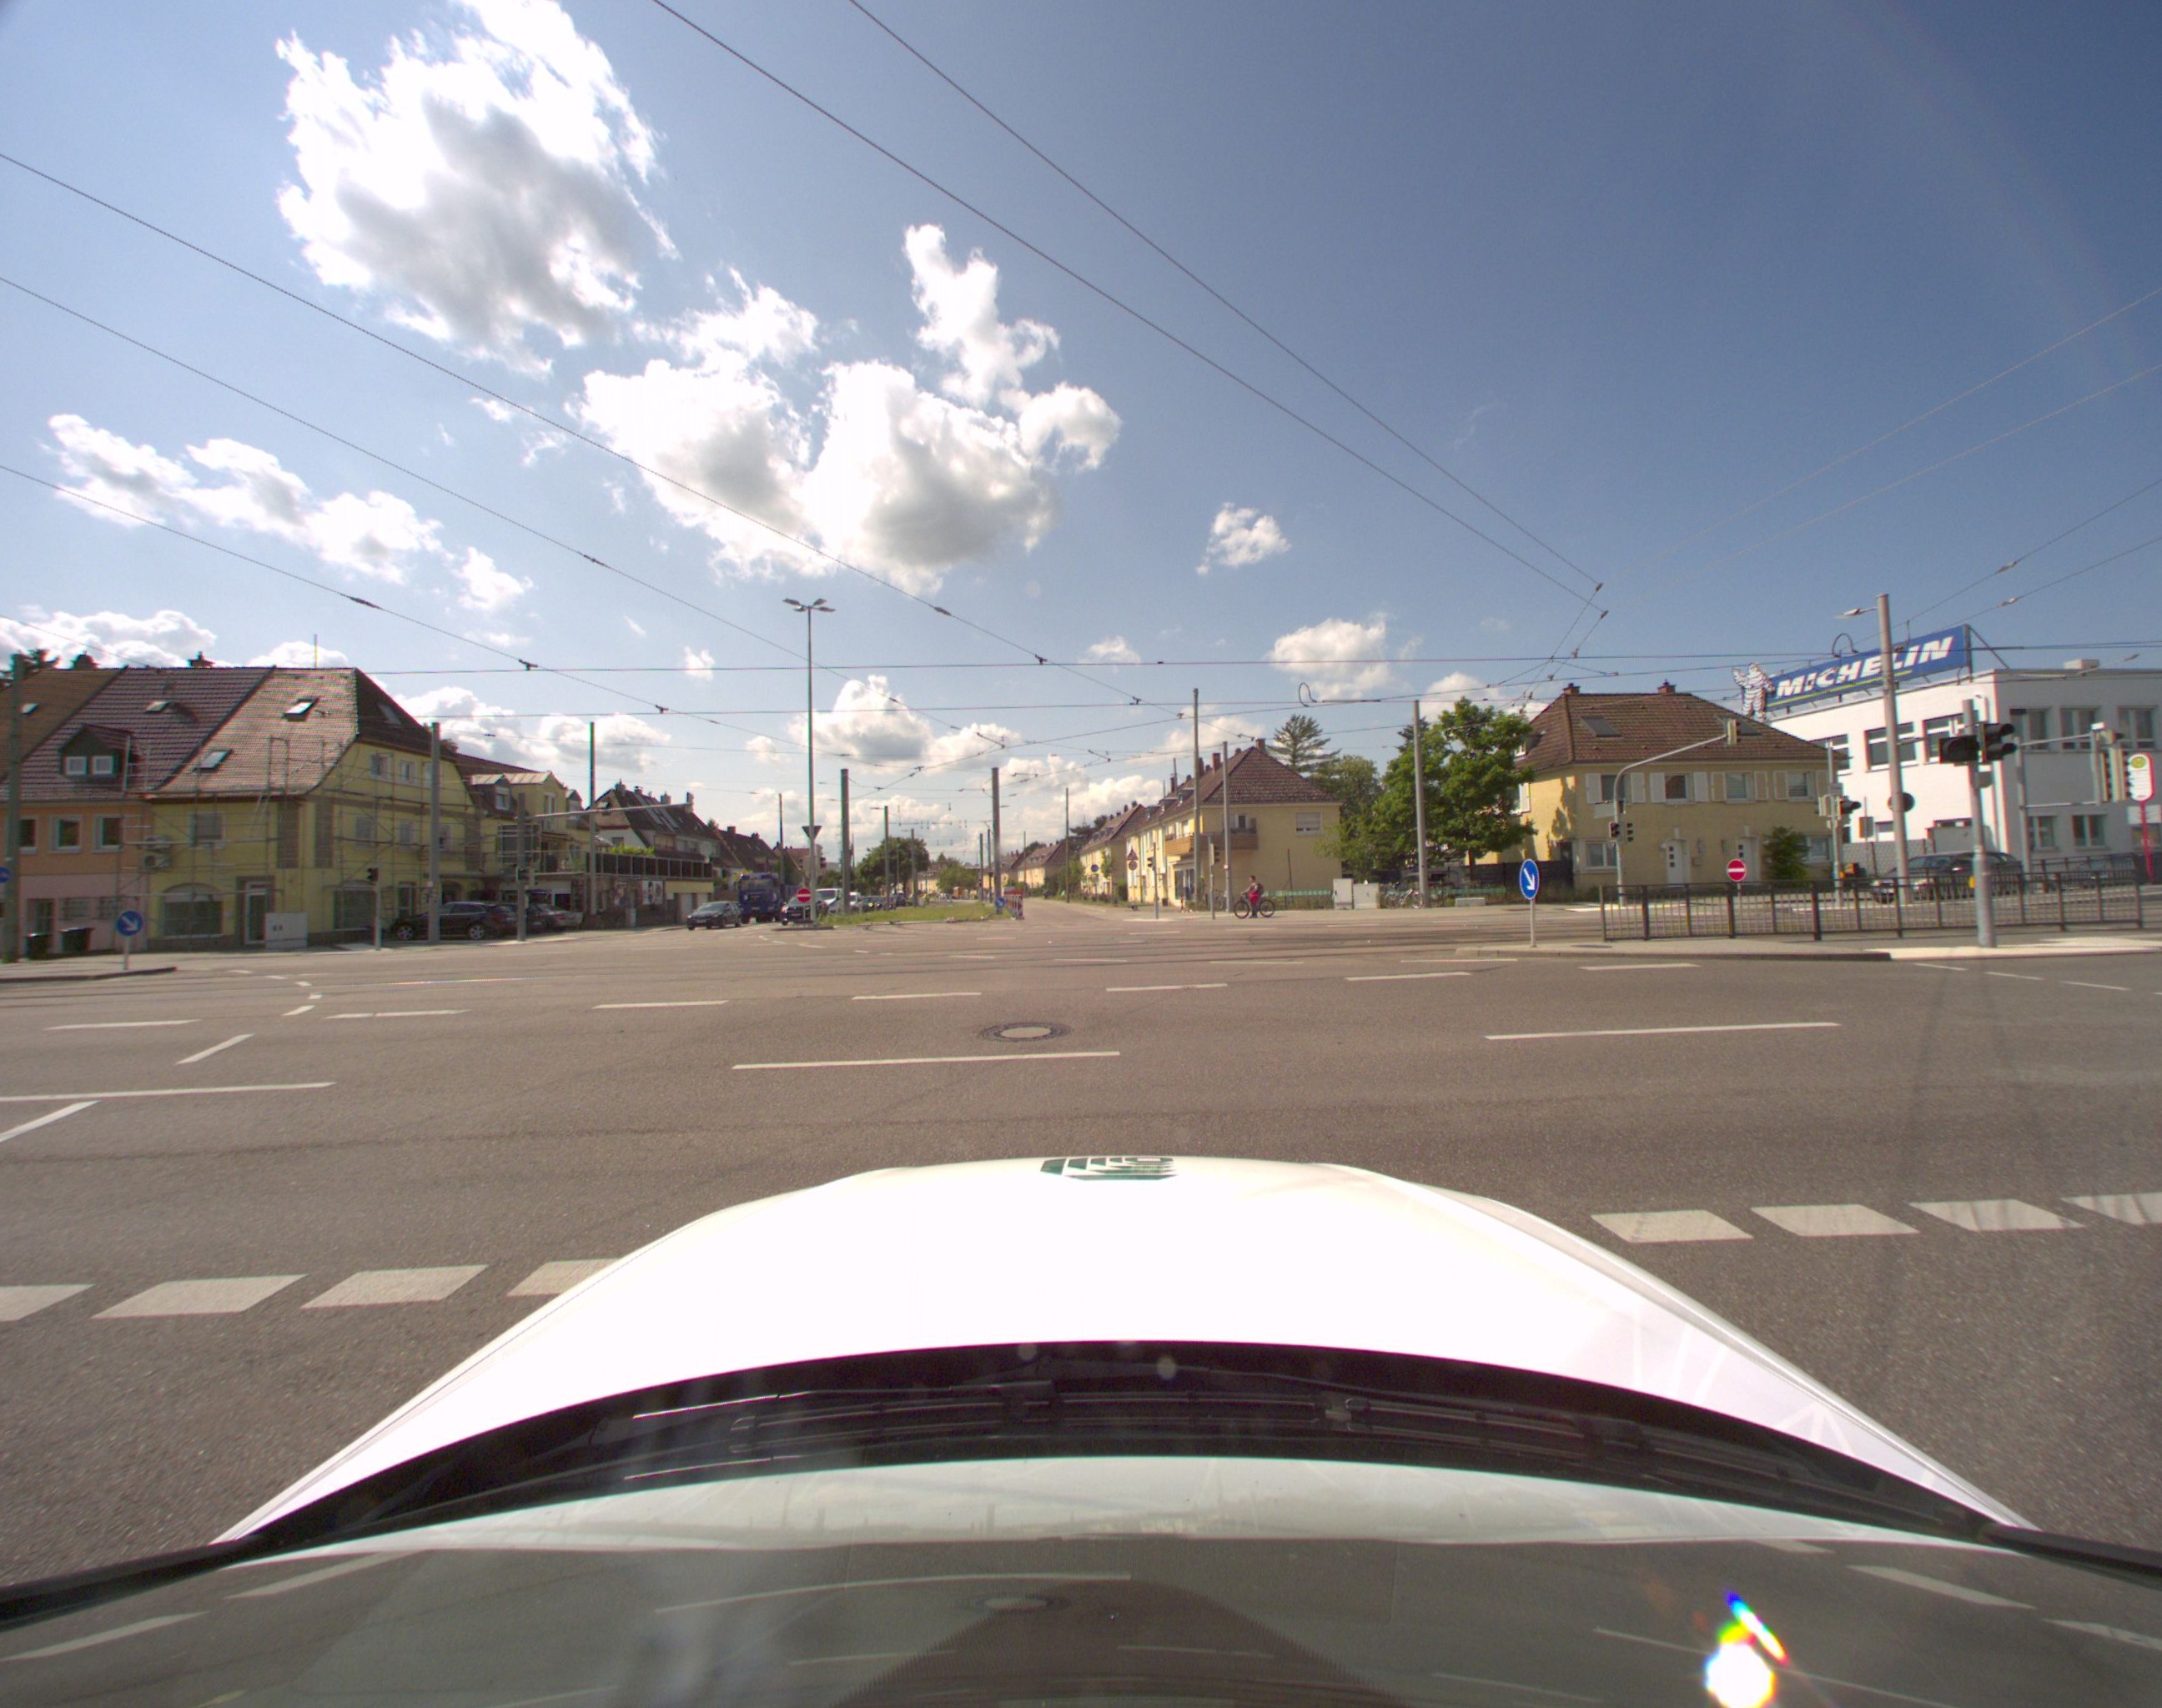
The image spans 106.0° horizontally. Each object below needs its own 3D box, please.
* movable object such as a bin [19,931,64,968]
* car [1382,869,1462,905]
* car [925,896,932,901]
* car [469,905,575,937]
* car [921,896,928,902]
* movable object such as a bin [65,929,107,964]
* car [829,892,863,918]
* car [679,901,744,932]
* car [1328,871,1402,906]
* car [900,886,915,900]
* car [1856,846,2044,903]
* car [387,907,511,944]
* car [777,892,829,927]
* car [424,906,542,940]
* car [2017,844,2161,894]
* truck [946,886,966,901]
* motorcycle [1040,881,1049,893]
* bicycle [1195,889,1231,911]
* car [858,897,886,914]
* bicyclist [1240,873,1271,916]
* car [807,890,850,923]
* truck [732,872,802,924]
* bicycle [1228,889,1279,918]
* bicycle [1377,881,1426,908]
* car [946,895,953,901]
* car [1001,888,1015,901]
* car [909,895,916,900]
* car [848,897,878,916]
[{"bbox_3d":[-37.447,3.420,29.356,0.680,1.260,0.681,-1,-2,-4],"label":"movable object such as a bin"},{"bbox_3d":[17.293,1.725,41.485,1.822,1.621,3.985,-2,-4,-10],"label":"car"},{"bbox_3d":[-43.943,12.909,234.264,1.264,1.427,2.642,-1,-3,-25],"label":"car"},{"bbox_3d":[-27.892,3.321,40.732,4.132,1.494,1.430,0,-3,-9],"label":"car"},{"bbox_3d":[-45.736,13.167,238.391,1.264,1.427,2.641,-1,-3,-27],"label":"car"},{"bbox_3d":[-37.473,3.470,30.690,0.680,1.260,0.681,-1,-2,-4],"label":"movable object such as a bin"},{"bbox_3d":[-17.191,3.722,59.716,1.732,1.782,4.391,-2,-3,-8],"label":"car"},{"bbox_3d":[-19.846,3.339,43.919,1.825,1.487,4.324,-2,-3,-5],"label":"car"},{"bbox_3d":[14.487,1.829,41.804,1.822,1.621,3.985,-2,-4,-10],"label":"car"},{"bbox_3d":[-32.649,7.324,153.207,2.413,2.371,4.849,-1,-2,-18],"label":"car"},{"bbox_3d":[27.115,0.641,25.499,3.977,1.568,1.840,-2,-2,-3],"label":"car"},{"bbox_3d":[-27.379,3.081,35.359,4.132,1.494,1.175,0,-3,-9],"label":"car"},{"bbox_3d":[-15.444,3.057,45.476,1.785,1.721,4.430,-2,-2,-7],"label":"car"},{"bbox_3d":[-27.844,3.184,38.025,4.132,1.494,1.502,0,-3,-9],"label":"car"},{"bbox_3d":[33.045,0.484,26.387,3.701,1.446,1.574,-2,-2,-3],"label":"car"},{"bbox_3d":[-31.151,9.872,203.007,2.652,3.495,9.361,-1,-3,-24],"label":"truck"},{"bbox_3d":[-5.247,4.833,118.203,1.066,1.636,2.077,-2,-3,-8],"label":"motorcycle"},{"bbox_3d":[6.800,2.375,42.112,0.596,1.096,2.257,-1,-3,-26],"label":"bicycle"},{"bbox_3d":[-18.775,4.626,73.228,1.842,1.413,4.901,-2,-3,-8],"label":"car"},{"bbox_3d":[7.273,1.686,33.914,0.962,1.775,0.713,-1,-3,-27],"label":"bicyclist"},{"bbox_3d":[-16.017,3.287,51.877,1.813,1.922,4.733,-2,-3,-8],"label":"car"},{"bbox_3d":[-21.224,2.997,55.520,2.767,3.189,7.558,-2,-3,-8],"label":"truck"},{"bbox_3d":[7.166,2.045,33.835,2.038,1.102,0.709,-1,-3,-27],"label":"bicycle"},{"bbox_3d":[13.806,1.742,35.147,1.785,1.105,0.707,-4,-3,38],"label":"bicycle"},{"bbox_3d":[-34.782,11.704,215.325,1.263,1.427,2.643,-1,-3,-24],"label":"car"},{"bbox_3d":[-12.794,7.161,143.103,2.066,2.149,4.860,-2,-3,-10],"label":"car"},{"bbox_3d":[-51.584,13.386,248.939,1.264,1.351,2.641,-1,-3,-27],"label":"car"},{"bbox_3d":[-17.675,4.238,66.186,1.914,1.419,3.987,-2,-3,-8],"label":"car"}]
